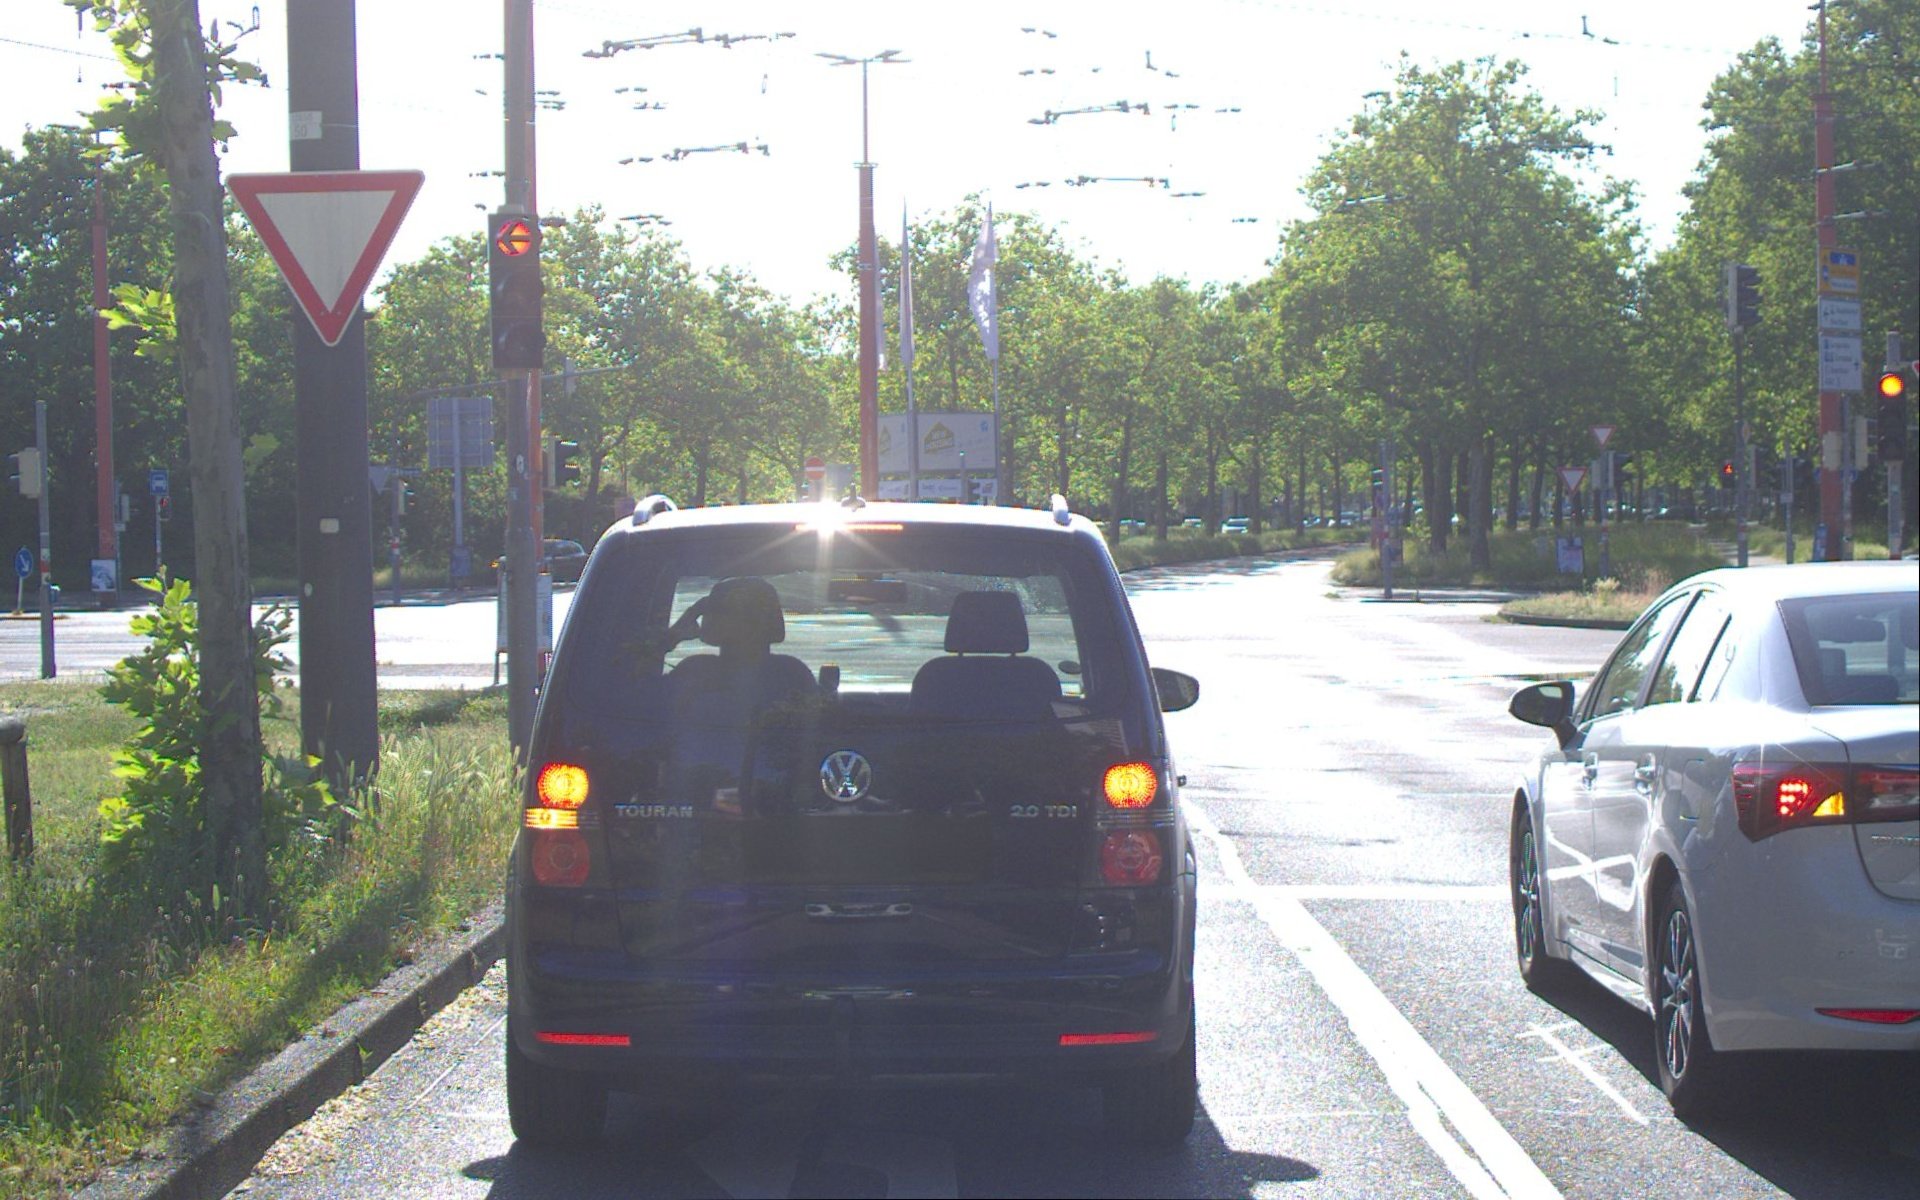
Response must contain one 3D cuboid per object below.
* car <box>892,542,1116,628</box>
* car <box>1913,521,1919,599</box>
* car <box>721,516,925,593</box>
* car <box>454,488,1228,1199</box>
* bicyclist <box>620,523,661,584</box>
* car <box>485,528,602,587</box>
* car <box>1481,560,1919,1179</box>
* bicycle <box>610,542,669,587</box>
[{"bbox_3d":[0.880,-0.323,69.311,4.208,1.675,1.654,1,1,24],"label":"car"},{"bbox_3d":[19.845,-0.737,63.777,3.919,1.452,1.654,1,1,26],"label":"car"},{"bbox_3d":[-3.031,-1.016,75.683,4.209,1.675,1.654,1,1,26],"label":"car"},{"bbox_3d":[-0.253,0.535,9.976,1.738,1.597,4.326,1,1,1],"label":"car"},{"bbox_3d":[-9.971,-1.463,107.287,0.977,1.897,1.050,0,1,12],"label":"bicyclist"},{"bbox_3d":[-12.468,-1.297,103.210,1.653,1.744,4.127,1,1,23],"label":"car"},{"bbox_3d":[2.757,0.615,10.154,1.799,1.435,4.326,1,1,1],"label":"car"},{"bbox_3d":[-9.977,-1.111,107.252,0.977,1.384,2.978,0,1,12],"label":"bicycle"}]
